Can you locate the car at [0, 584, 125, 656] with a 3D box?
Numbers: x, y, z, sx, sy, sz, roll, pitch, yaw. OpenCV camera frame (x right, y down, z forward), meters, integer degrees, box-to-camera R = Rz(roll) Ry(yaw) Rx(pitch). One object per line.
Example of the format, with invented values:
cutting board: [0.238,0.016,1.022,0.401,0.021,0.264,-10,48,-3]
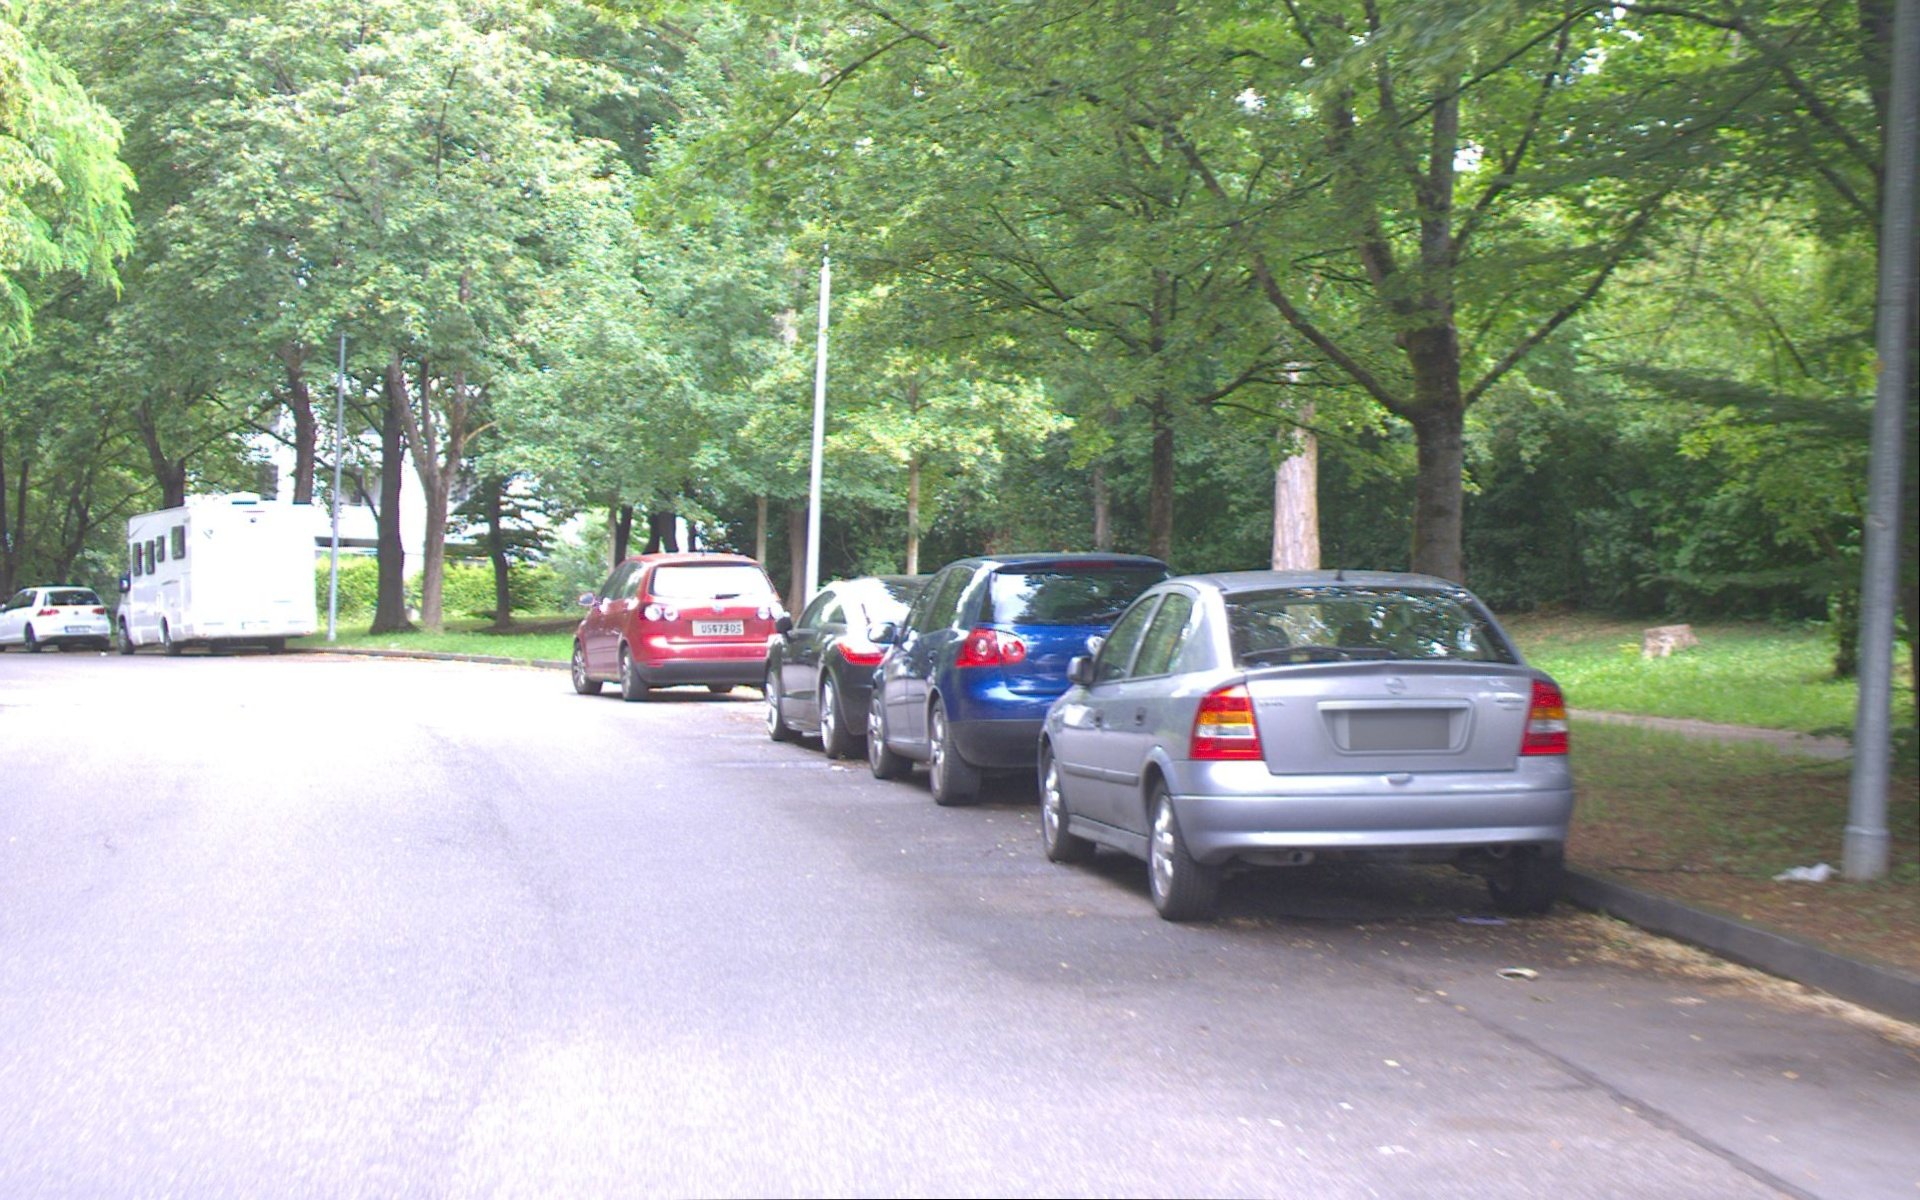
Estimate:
car: [-20.452,0.431,77.130,1.993,1.468,4.000,2,0,-34]

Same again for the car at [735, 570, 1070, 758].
car: [-0.542,0.445,26.760,1.749,1.332,4.417,1,0,-12]

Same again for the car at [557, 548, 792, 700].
car: [-3.158,0.242,37.389,1.738,1.557,4.001,0,0,-17]

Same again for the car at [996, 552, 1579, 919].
car: [1.322,0.525,15.509,1.717,1.426,3.949,0,0,-8]

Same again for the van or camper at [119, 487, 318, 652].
van or camper: [-14.168,-0.608,65.443,2.428,2.997,5.210,-1,1,-27]

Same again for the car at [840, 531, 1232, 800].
car: [0.378,0.383,22.074,1.713,1.504,4.182,2,0,-9]
